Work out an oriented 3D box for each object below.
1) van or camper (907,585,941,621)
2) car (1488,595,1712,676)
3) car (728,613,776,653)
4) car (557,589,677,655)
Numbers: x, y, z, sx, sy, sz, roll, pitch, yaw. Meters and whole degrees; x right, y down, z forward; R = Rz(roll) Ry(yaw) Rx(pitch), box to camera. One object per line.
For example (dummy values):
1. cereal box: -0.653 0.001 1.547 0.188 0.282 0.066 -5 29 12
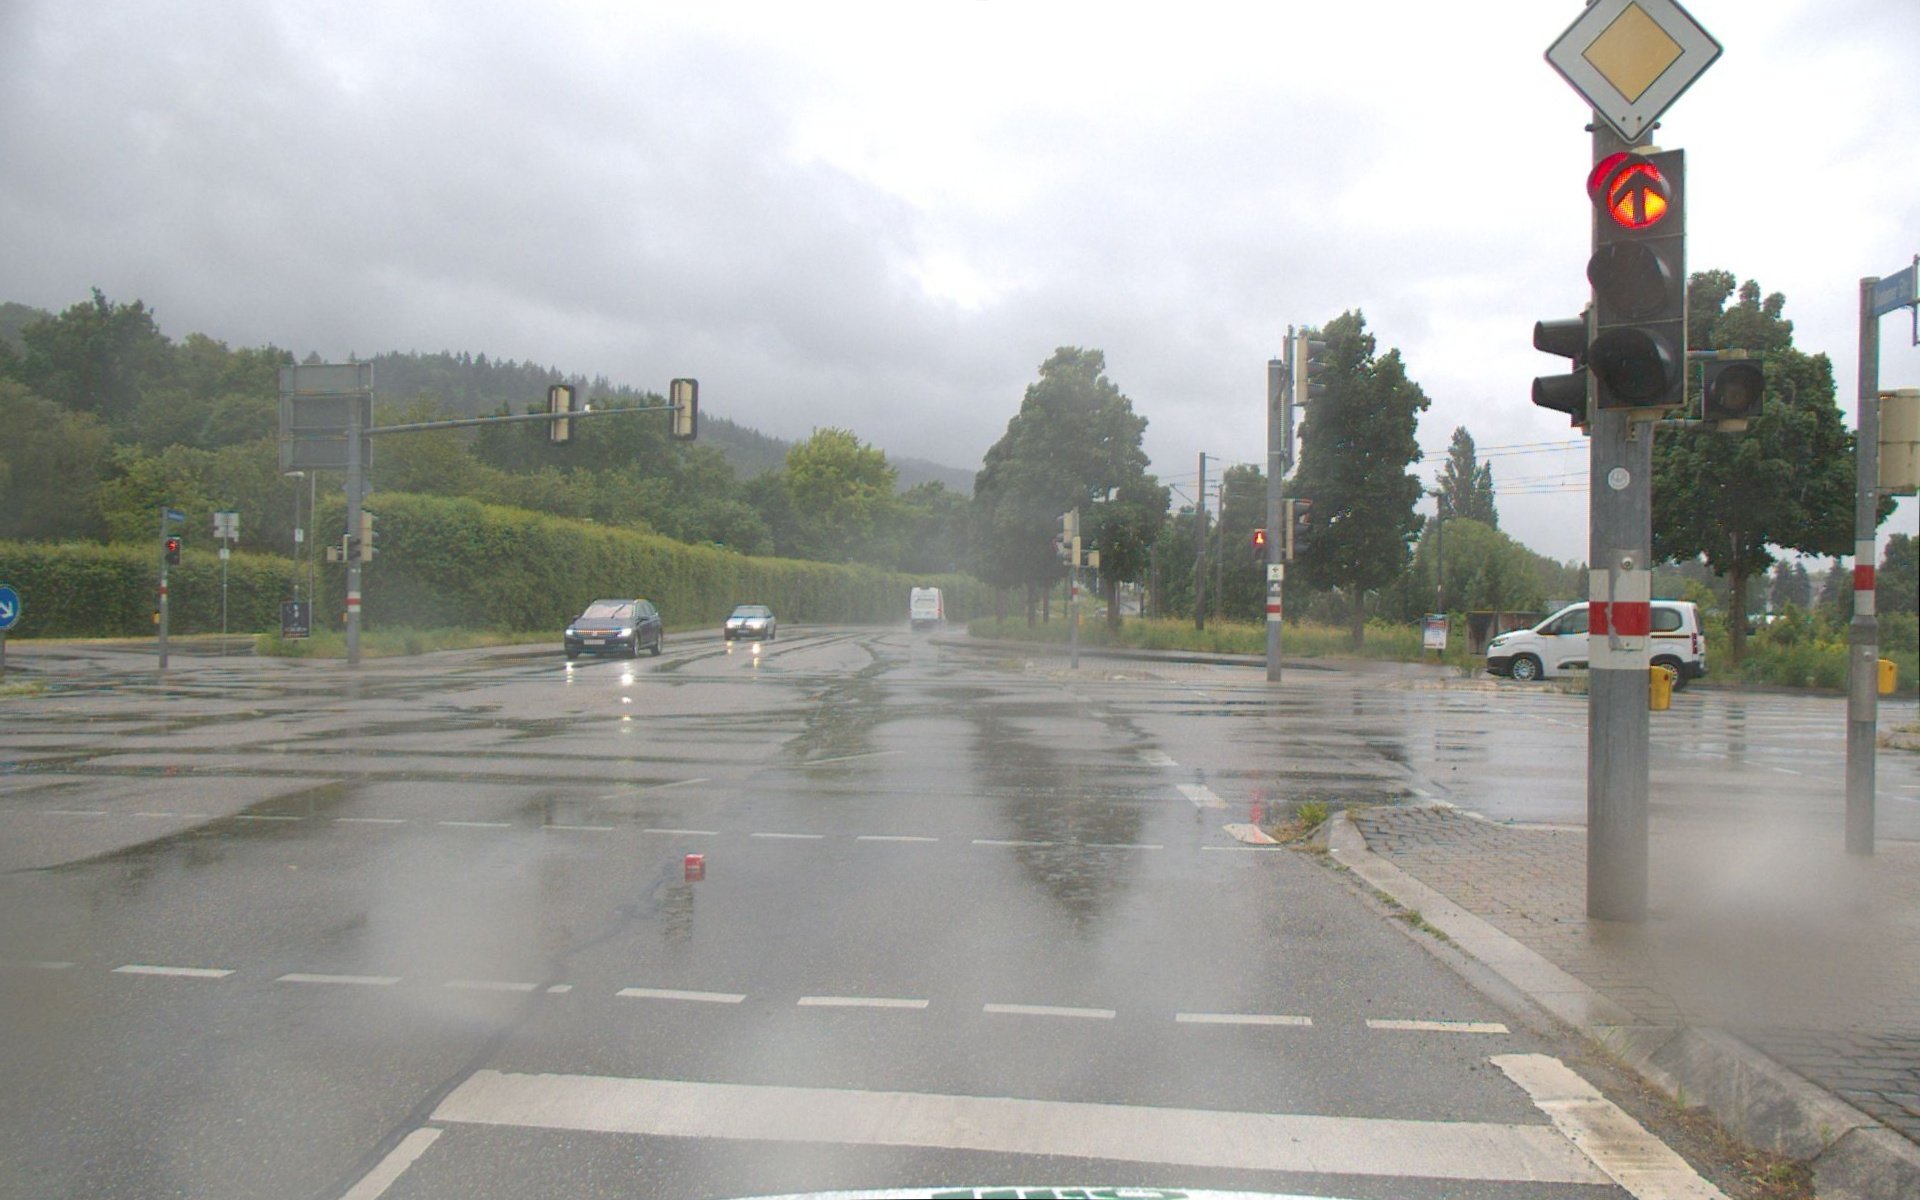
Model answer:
1. van or camper: -2.304 0.158 106.524 2.109 2.207 4.864 1 0 0
2. car: 13.367 0.707 34.562 4.249 1.580 1.821 0 0 26
3. car: -8.387 1.310 66.911 1.526 1.507 3.361 1 0 0
4. car: -8.952 0.542 43.560 1.839 1.601 4.647 -1 0 4
